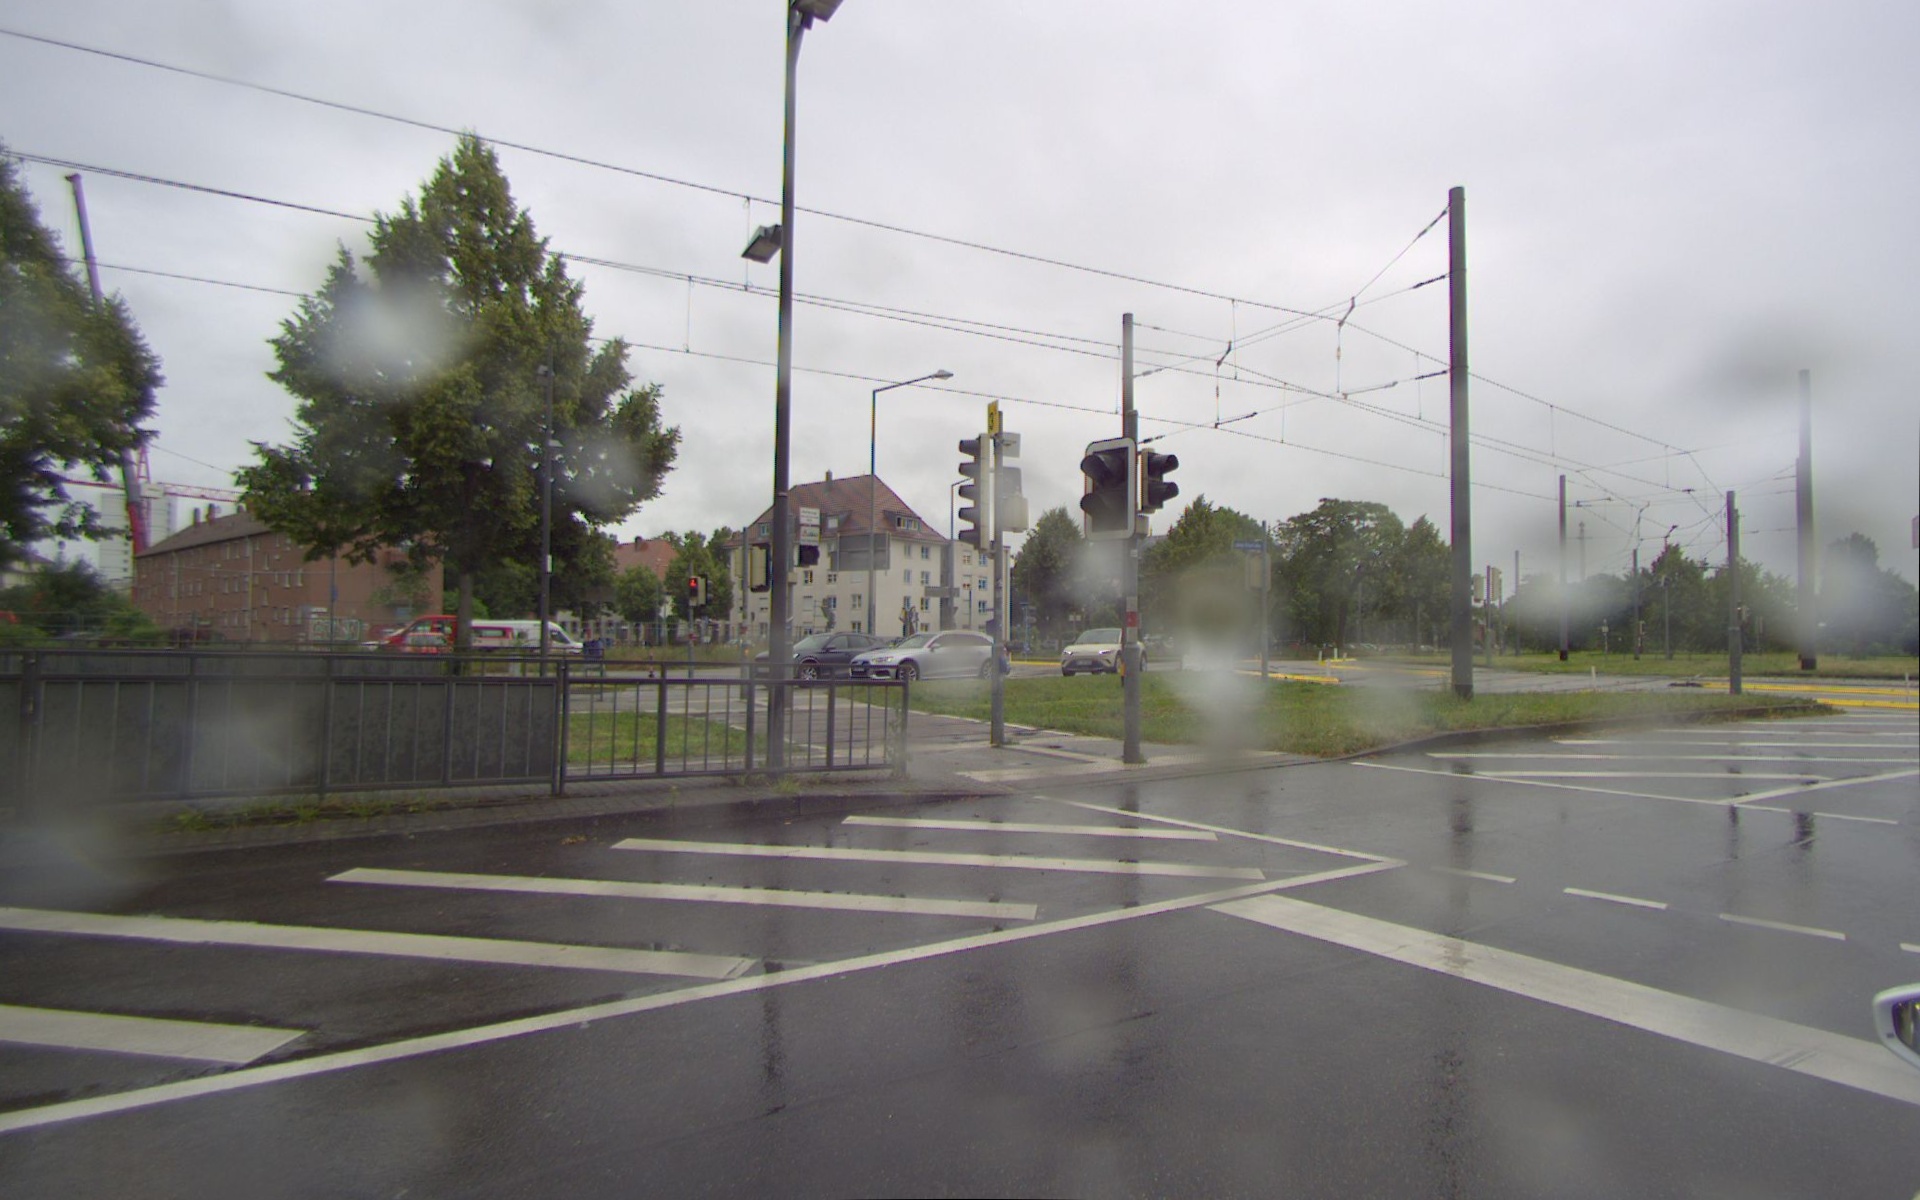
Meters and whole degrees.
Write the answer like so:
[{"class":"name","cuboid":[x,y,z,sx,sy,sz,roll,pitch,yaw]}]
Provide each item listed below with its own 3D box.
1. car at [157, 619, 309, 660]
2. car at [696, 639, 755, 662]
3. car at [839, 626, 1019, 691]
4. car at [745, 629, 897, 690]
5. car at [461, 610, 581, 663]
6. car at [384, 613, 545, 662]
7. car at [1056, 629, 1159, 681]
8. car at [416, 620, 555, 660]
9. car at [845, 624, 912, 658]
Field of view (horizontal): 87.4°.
[{"class":"car","cuboid":[-39.599,2.122,54.867,2.325,2.040,6.388,2,0,44]},{"class":"car","cuboid":[-21.073,4.527,90.246,4.744,1.835,2.001,2,0,16]},{"class":"car","cuboid":[-0.735,1.484,26.274,4.591,1.506,1.809,2,0,-41]},{"class":"car","cuboid":[-3.825,1.616,28.130,1.805,1.506,3.979,2,0,42]},{"class":"car","cuboid":[-26.047,2.172,59.887,6.329,2.978,2.346,2,0,-20]},{"class":"car","cuboid":[-22.738,1.735,46.452,6.329,2.040,2.346,2,0,-20]},{"class":"car","cuboid":[4.842,1.720,32.532,1.819,1.506,4.217,2,0,31]},{"class":"car","cuboid":[-24.882,2.092,52.999,6.329,2.040,2.347,1,-2,-20]},{"class":"car","cuboid":[-6.331,3.146,77.928,4.750,2.358,1.998,2,0,25]}]
